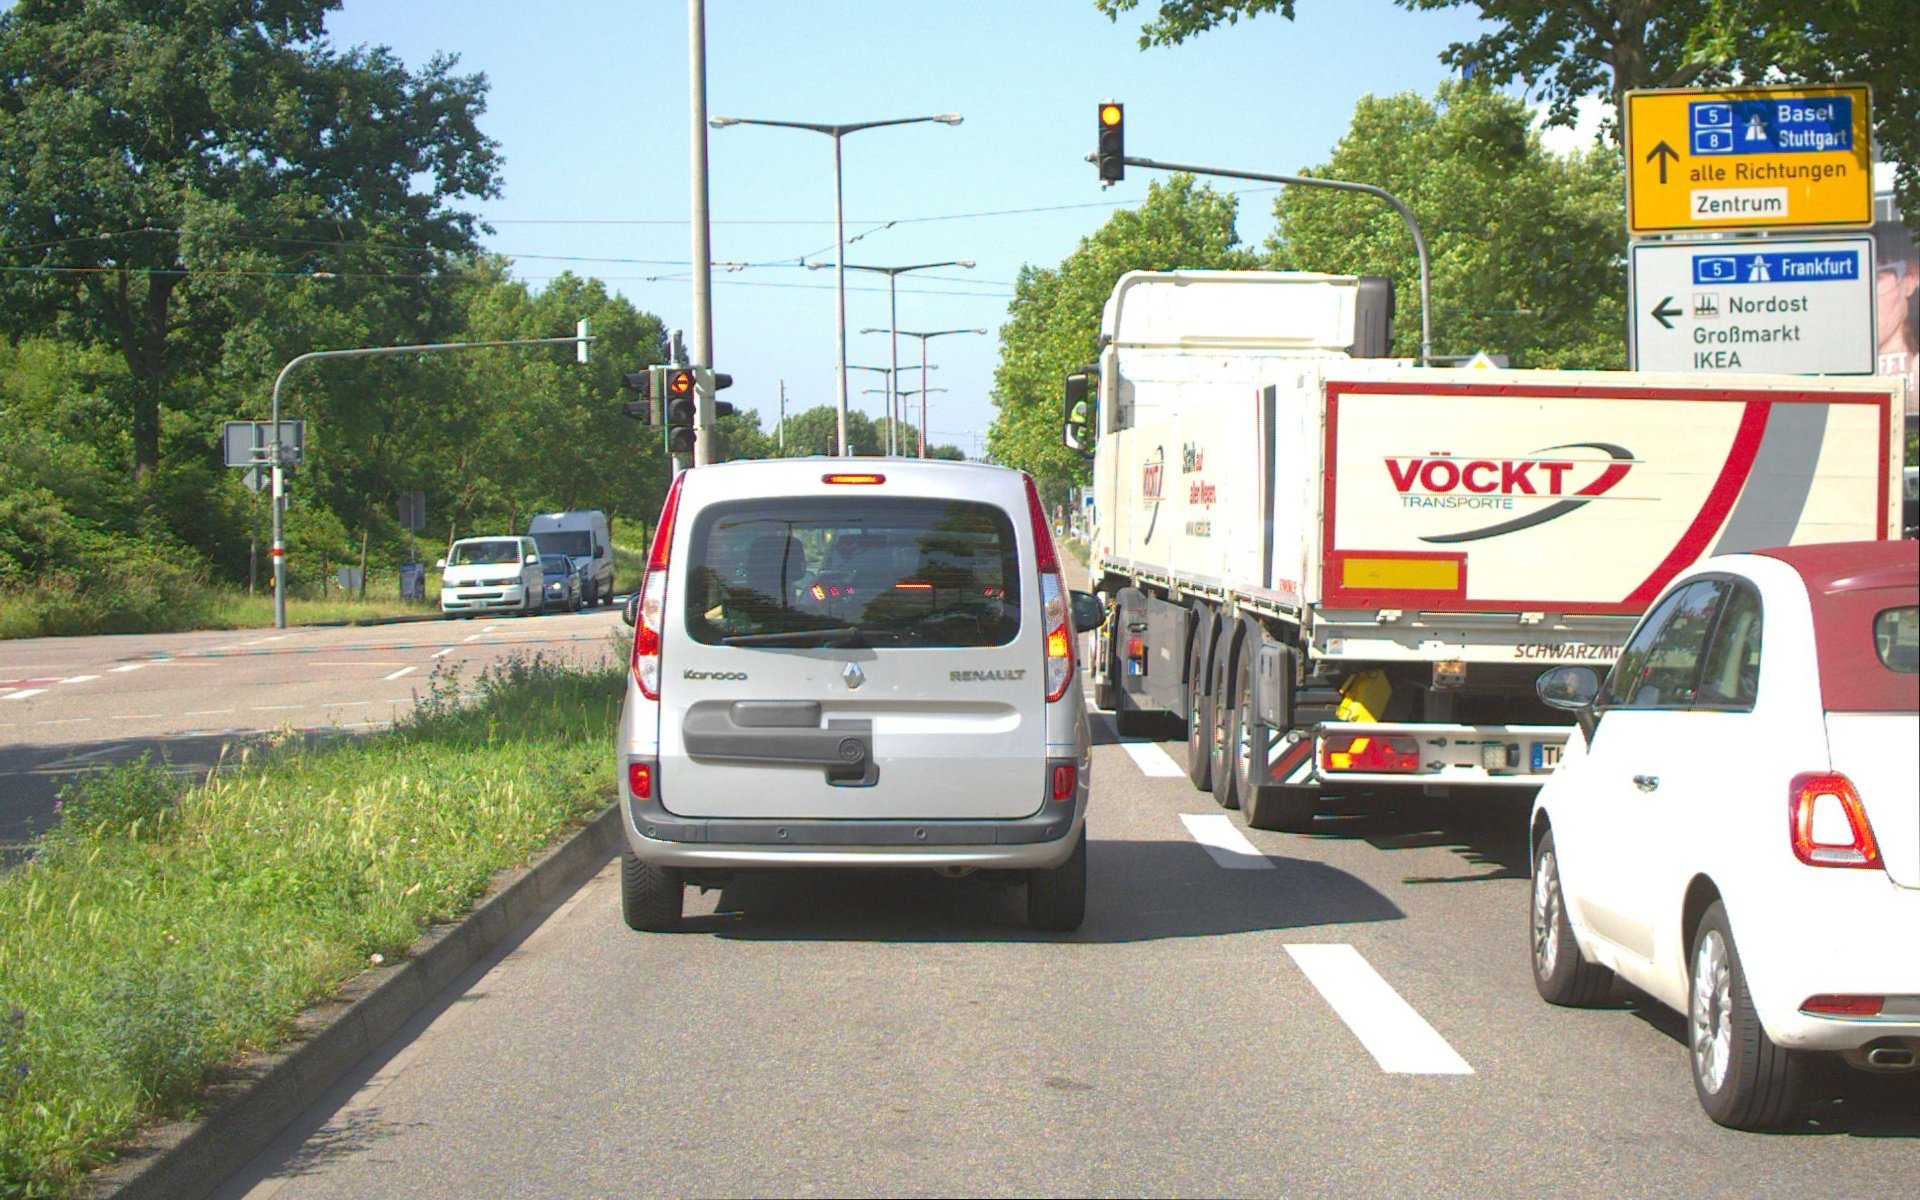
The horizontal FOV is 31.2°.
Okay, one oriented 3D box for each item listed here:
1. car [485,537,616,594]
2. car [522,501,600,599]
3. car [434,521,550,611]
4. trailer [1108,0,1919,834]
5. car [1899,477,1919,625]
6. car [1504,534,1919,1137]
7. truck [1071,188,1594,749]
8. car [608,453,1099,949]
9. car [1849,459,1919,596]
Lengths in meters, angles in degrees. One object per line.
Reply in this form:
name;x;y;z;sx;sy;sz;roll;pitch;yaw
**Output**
car;-10.343;-0.879;86.681;1.911;1.404;4.228;0;1;-27
car;-10.960;-1.373;94.381;2.058;2.605;5.871;0;1;-7
car;-10.653;-0.798;78.548;1.993;1.884;4.988;-3;1;-1
trailer;2.692;-0.981;20.515;3.016;3.728;12.240;0;1;0
car;12.764;-0.544;38.678;3.987;1.656;1.723;0;1;5
car;2.657;0.532;9.912;1.661;1.431;3.520;0;1;1
truck;2.615;-0.934;26.733;3.071;3.745;7.477;0;1;-1
car;-0.413;0.331;14.230;1.749;1.766;3.950;0;1;-1
car;13.160;-0.888;42.462;3.987;1.656;1.723;0;1;5
